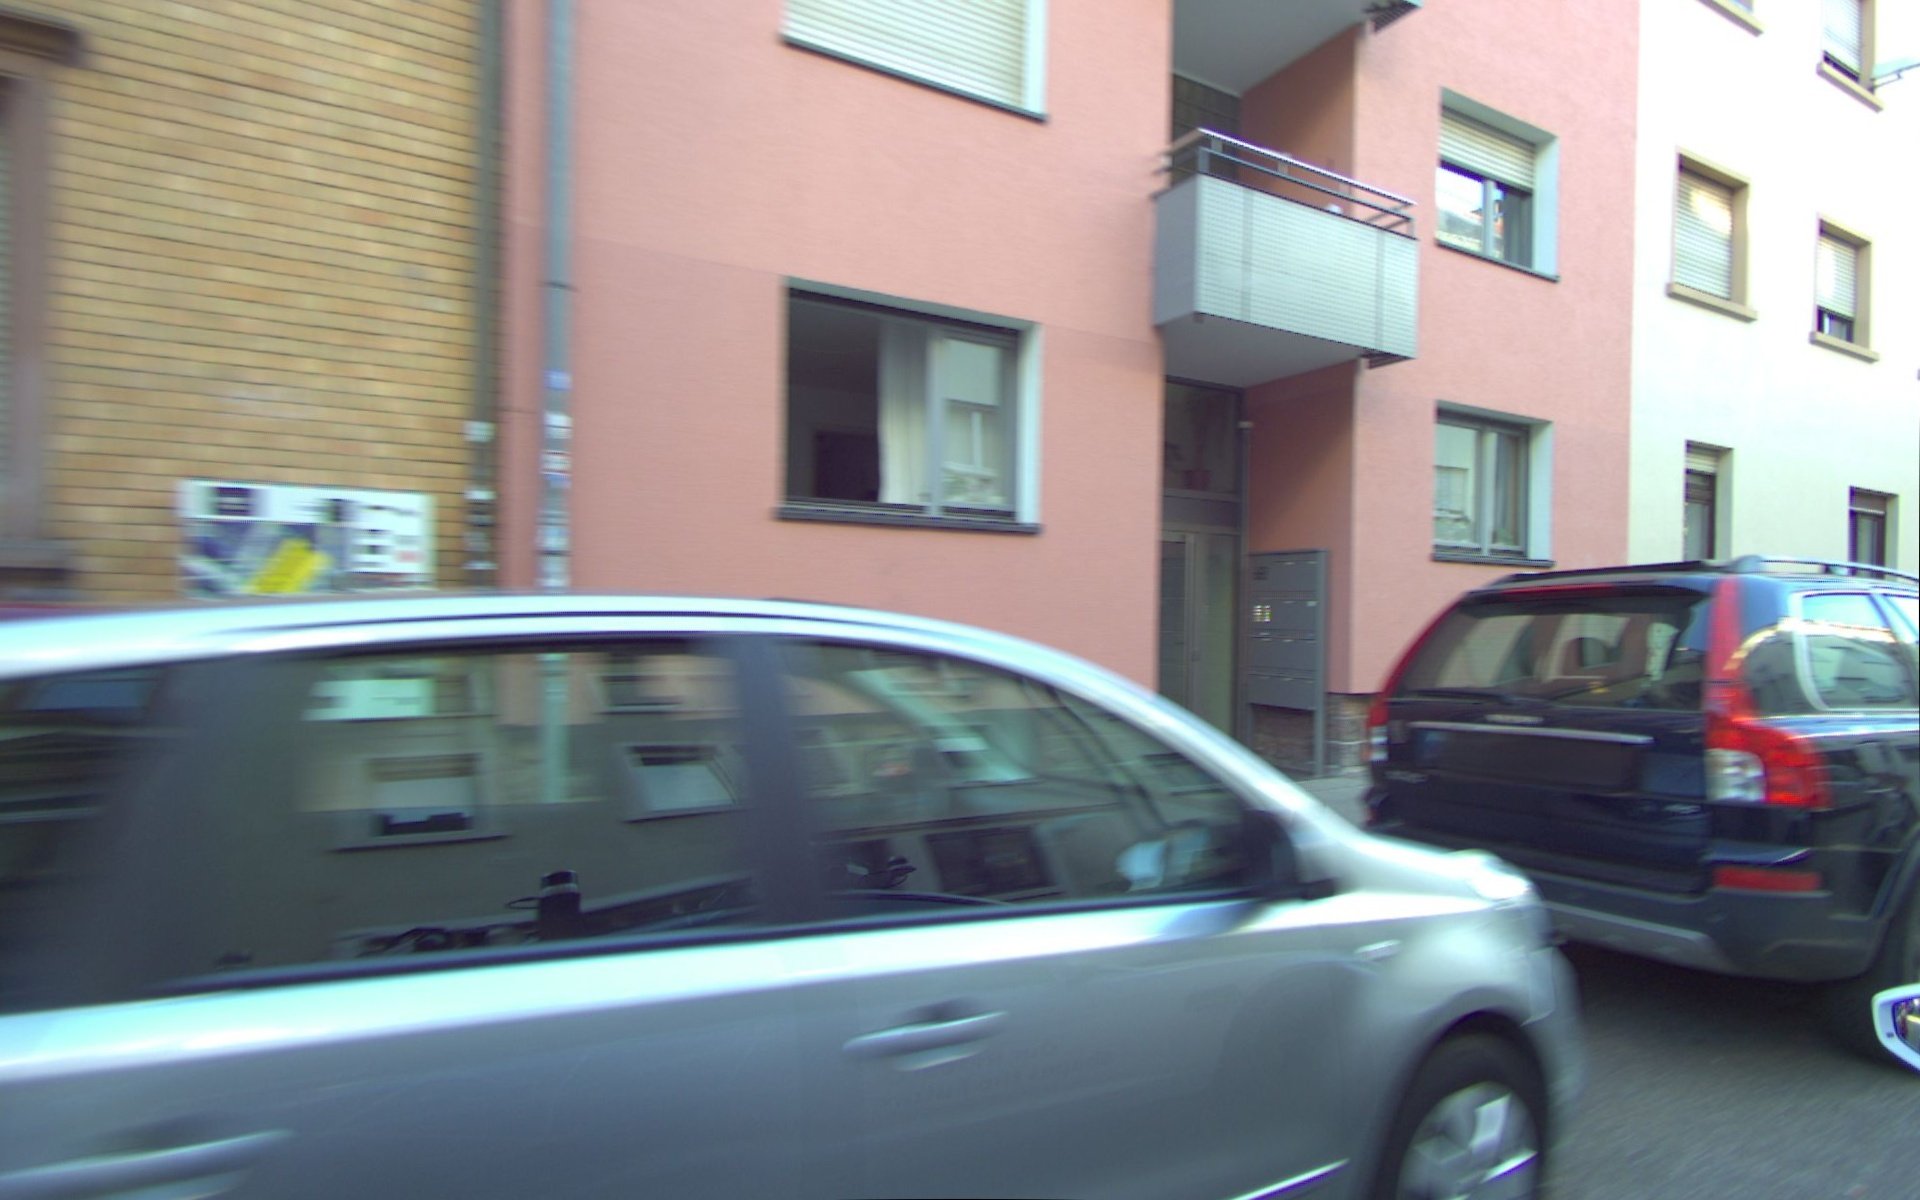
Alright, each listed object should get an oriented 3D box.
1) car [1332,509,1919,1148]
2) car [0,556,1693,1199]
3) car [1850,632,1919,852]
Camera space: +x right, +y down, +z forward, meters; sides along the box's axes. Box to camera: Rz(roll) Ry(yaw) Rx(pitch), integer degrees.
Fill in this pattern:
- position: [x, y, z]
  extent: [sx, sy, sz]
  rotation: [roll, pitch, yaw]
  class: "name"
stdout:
- position: [4.083, 0.714, 4.771]
  extent: [4.613, 1.835, 1.737]
  rotation: [1, -2, -28]
  class: "car"
- position: [-0.340, 0.769, 2.219]
  extent: [3.895, 1.541, 1.650]
  rotation: [1, -2, -28]
  class: "car"
- position: [8.774, 1.003, 7.557]
  extent: [4.292, 1.526, 1.737]
  rotation: [1, -2, -28]
  class: "car"
